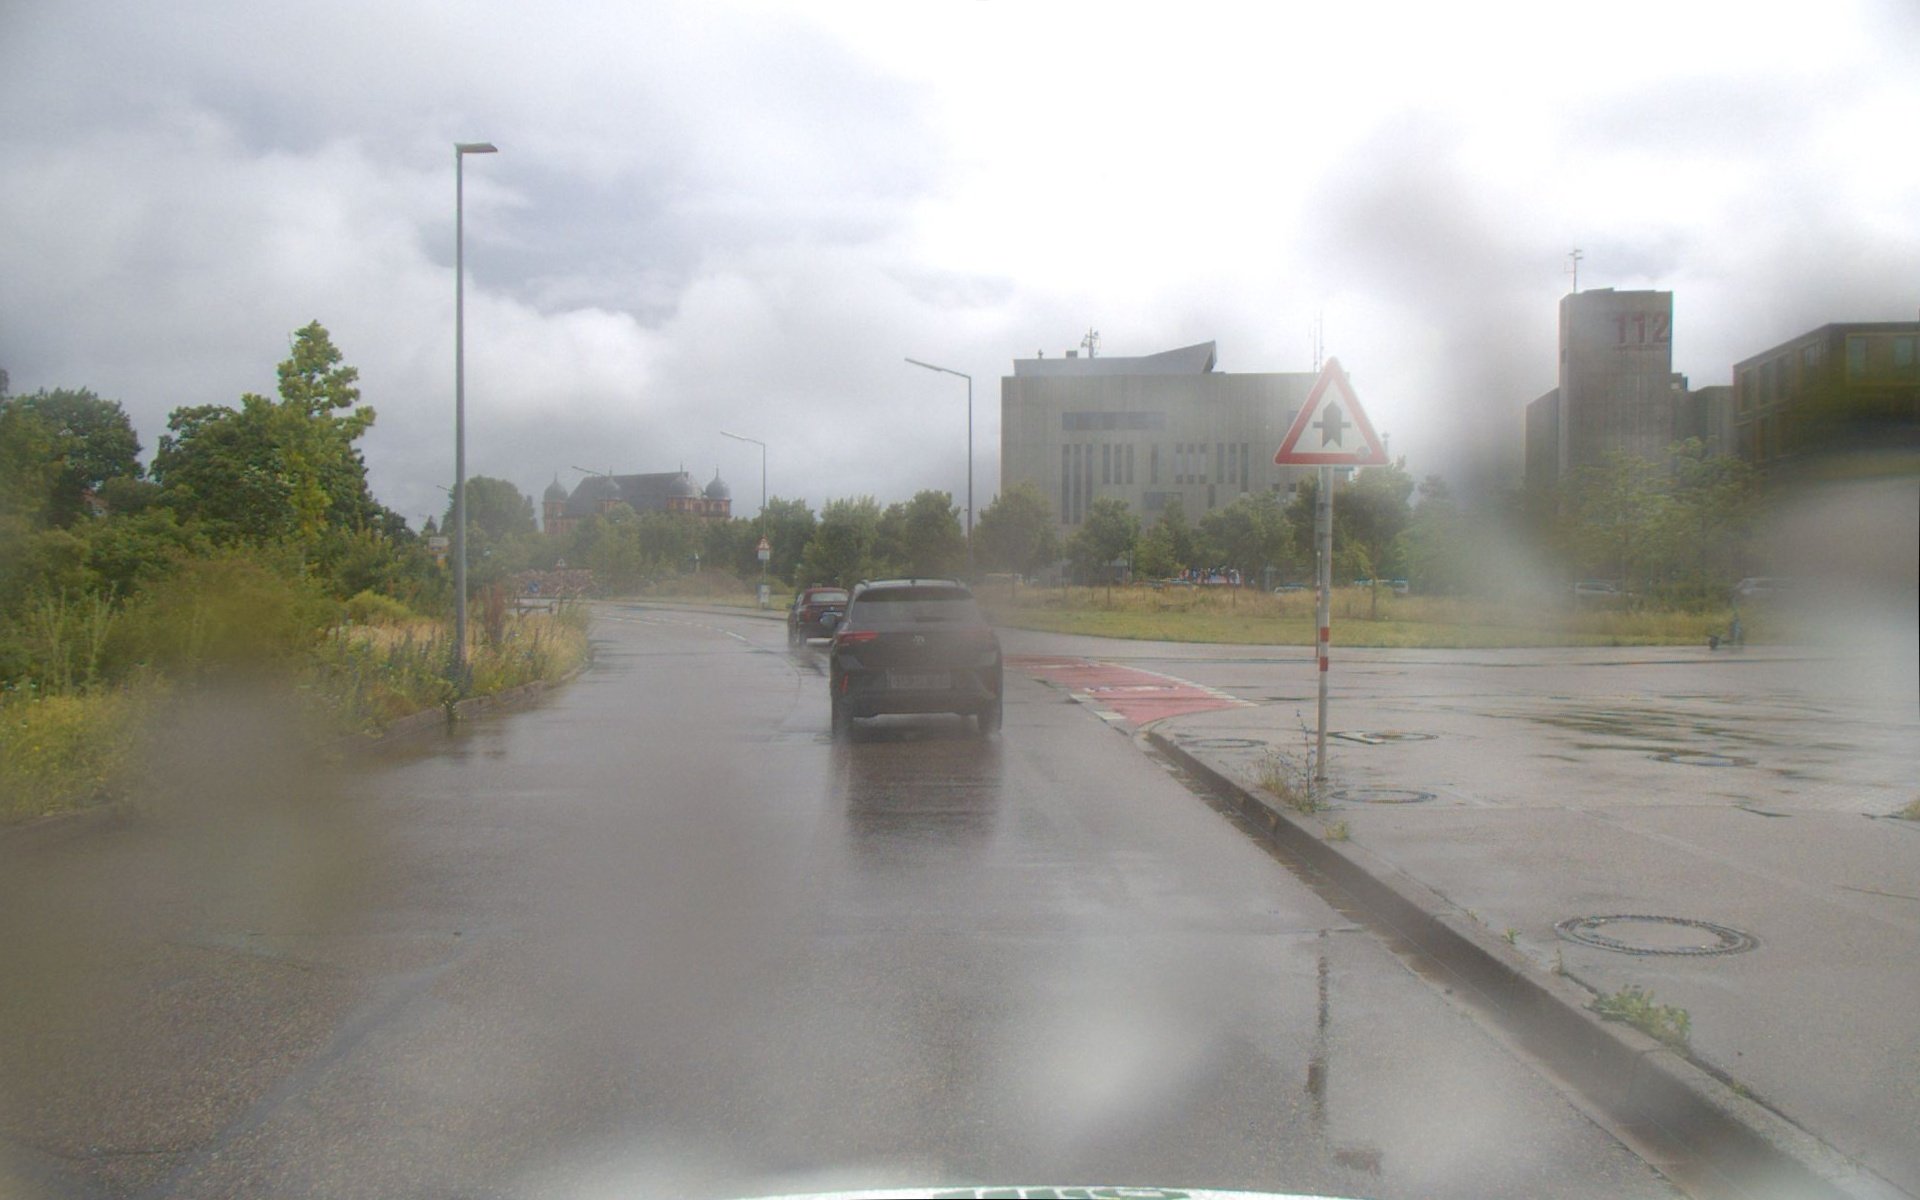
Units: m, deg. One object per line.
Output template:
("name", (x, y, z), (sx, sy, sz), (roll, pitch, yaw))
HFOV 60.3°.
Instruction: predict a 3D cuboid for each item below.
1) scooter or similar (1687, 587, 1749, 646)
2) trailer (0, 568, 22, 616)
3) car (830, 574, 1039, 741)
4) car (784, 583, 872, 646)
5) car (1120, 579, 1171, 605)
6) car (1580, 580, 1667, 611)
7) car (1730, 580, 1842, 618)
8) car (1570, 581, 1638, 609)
("scooter or similar", (16.409, 0.351, 35.812), (1.262, 1.207, 0.500), (-2, 2, -22))
("trailer", (-43.892, -0.389, 73.157), (4.062, 2.126, 1.824), (2, -1, -33))
("car", (-0.396, 0.523, 17.866), (1.948, 1.546, 3.996), (-1, 1, -5))
("car", (-3.463, 0.336, 42.844), (1.808, 1.467, 3.989), (-2, 1, -11))
("car", (14.535, -0.638, 129.534), (3.619, 2.049, 2.001), (0, 0, 19))
("car", (39.067, -0.289, 97.451), (4.445, 1.792, 2.002), (0, 0, 12))
("car", (36.432, -0.054, 73.073), (4.115, 1.585, 1.668), (-1, 0, 12))
("car", (41.943, -0.326, 107.796), (3.902, 1.751, 1.771), (0, 0, 12))
